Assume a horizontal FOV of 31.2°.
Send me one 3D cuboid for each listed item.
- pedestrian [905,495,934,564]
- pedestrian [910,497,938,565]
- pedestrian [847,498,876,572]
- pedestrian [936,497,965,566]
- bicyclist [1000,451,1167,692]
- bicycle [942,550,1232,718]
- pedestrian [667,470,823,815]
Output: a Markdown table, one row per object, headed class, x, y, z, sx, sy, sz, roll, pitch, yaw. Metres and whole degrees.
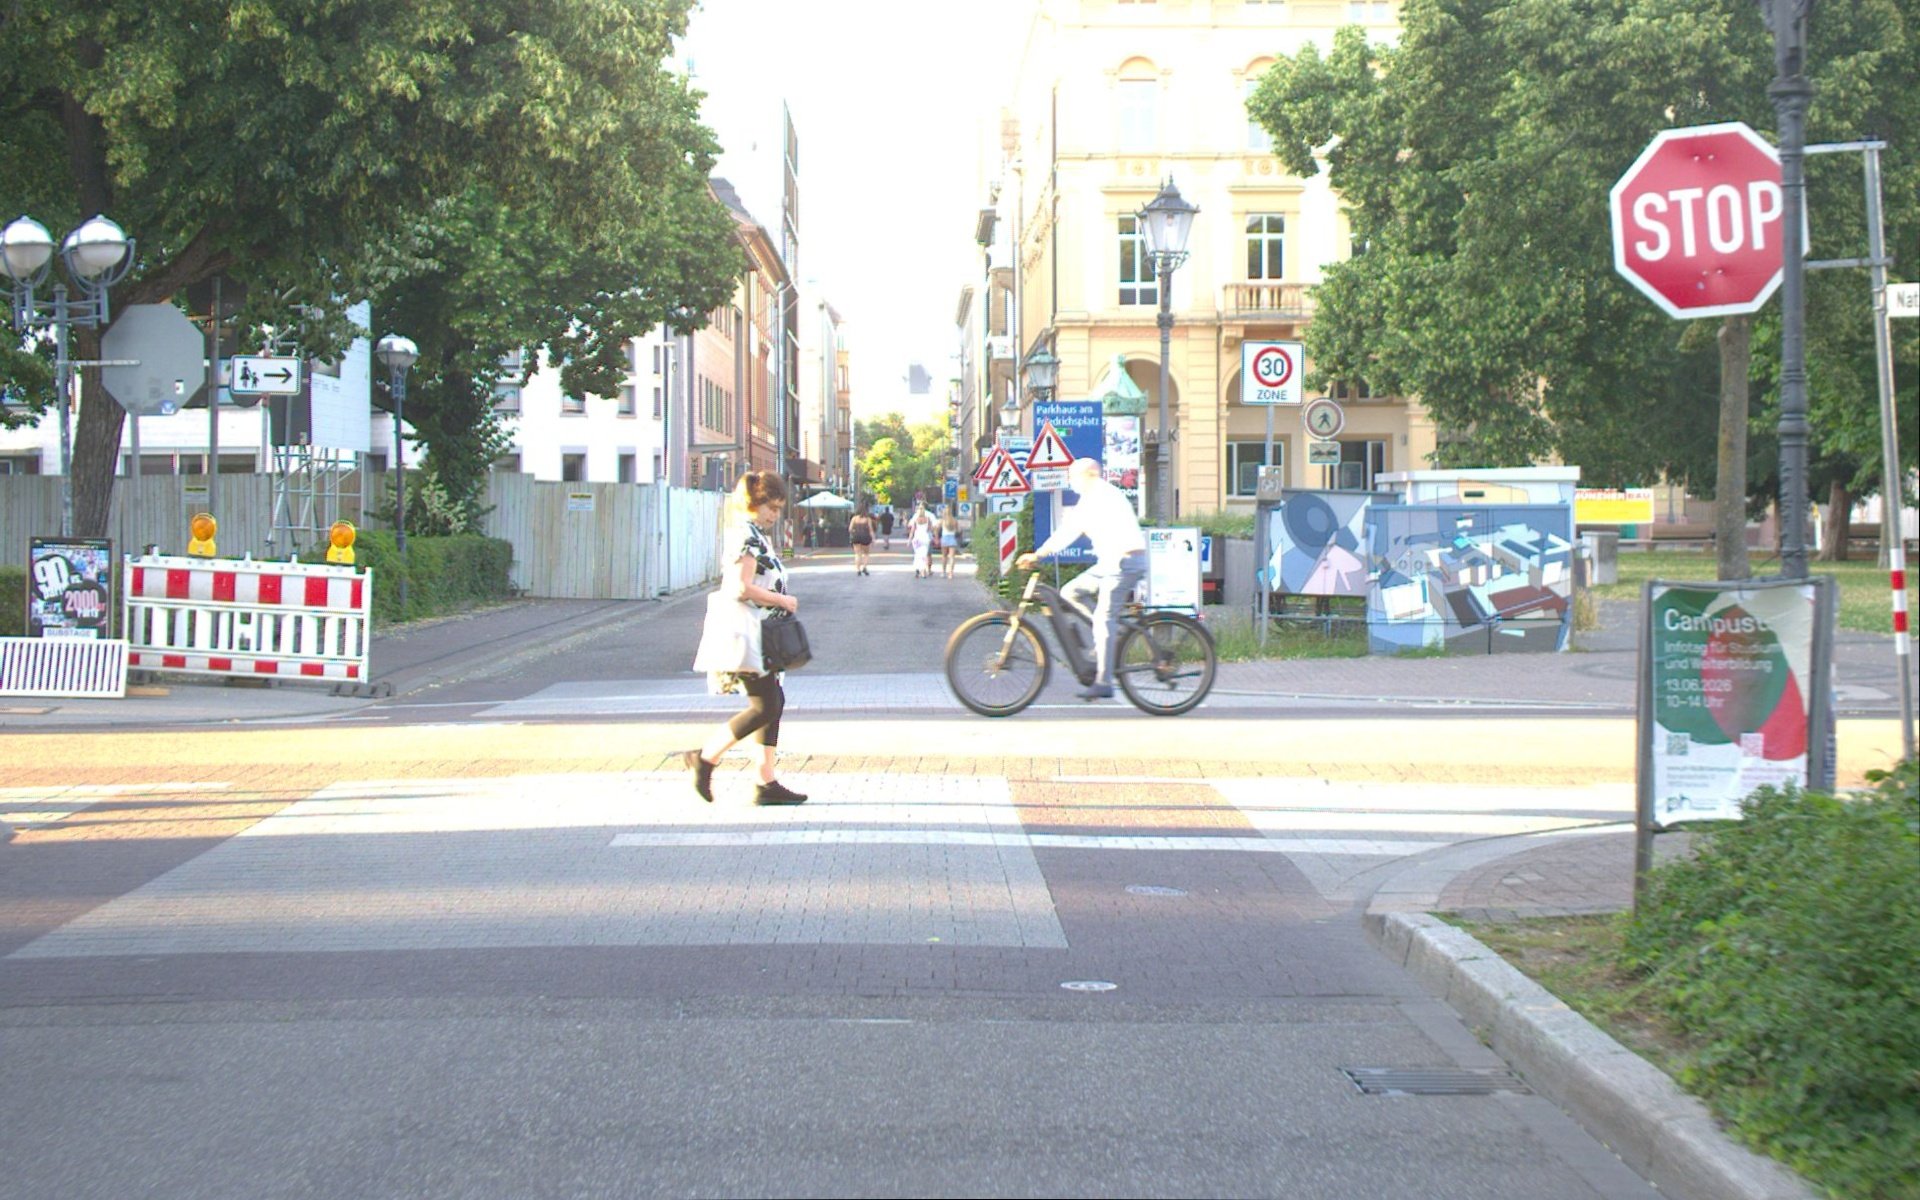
| class | x | y | z | sx | sy | sz | roll | pitch | yaw |
| --- | --- | --- | --- | --- | --- | --- | --- | --- | --- |
| pedestrian | -0.953 | -1.682 | 81.648 | 0.657 | 1.611 | 0.745 | -1 | 2 | 0 |
| pedestrian | -0.867 | -1.683 | 83.326 | 0.657 | 1.630 | 0.745 | -1 | 1 | 0 |
| pedestrian | -2.370 | -1.573 | 82.889 | 0.657 | 1.754 | 0.745 | -1 | 1 | 0 |
| pedestrian | -0.228 | -1.636 | 81.733 | 0.657 | 1.611 | 0.745 | -1 | 2 | 0 |
| bicyclist | 0.846 | -0.204 | 23.672 | 1.060 | 1.627 | 0.596 | 0 | 1 | -7 |
| bicycle | 0.867 | 0.225 | 23.668 | 1.927 | 1.117 | 0.596 | 0 | 1 | -7 |
| pedestrian | -1.070 | 0.198 | 17.251 | 0.734 | 1.683 | 0.836 | 0 | 1 | -1 |
